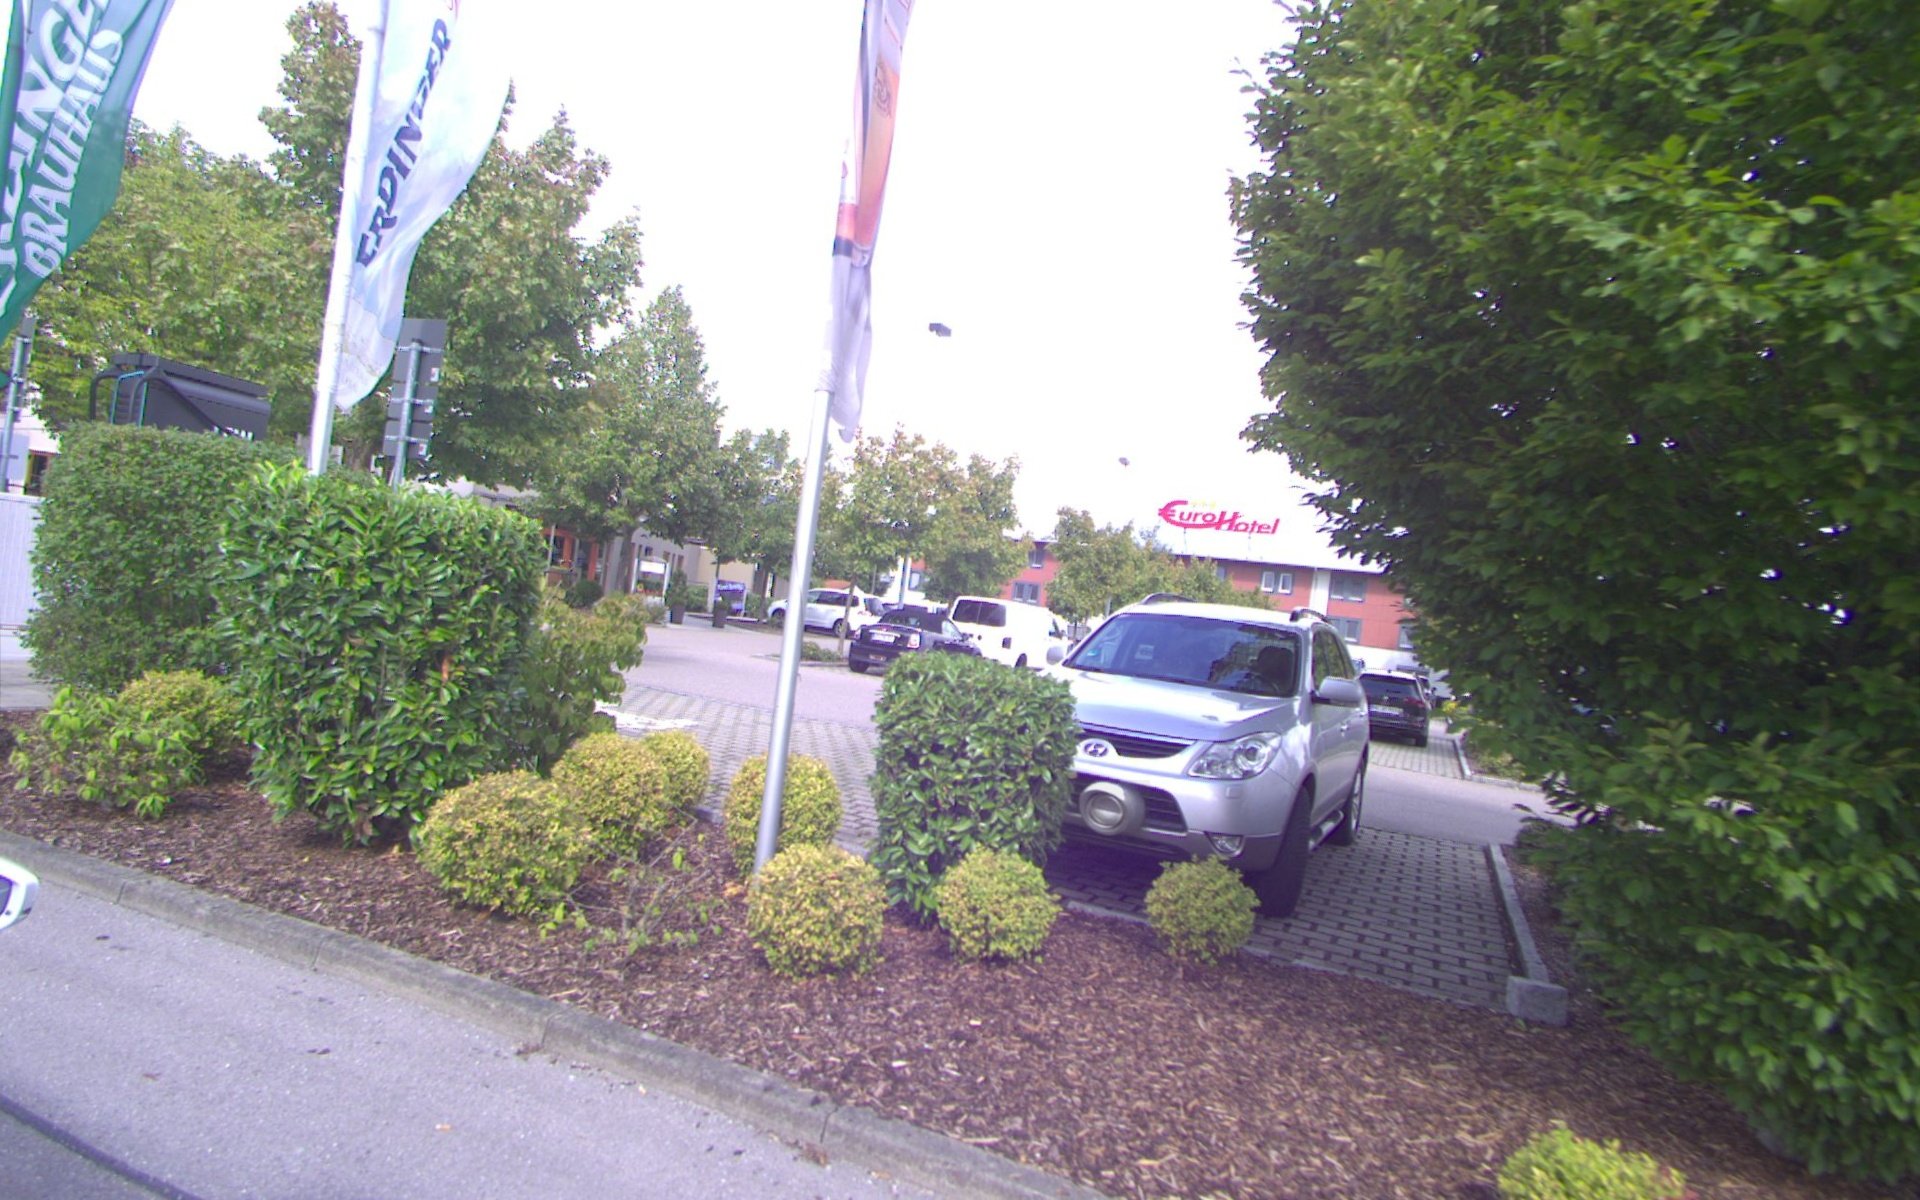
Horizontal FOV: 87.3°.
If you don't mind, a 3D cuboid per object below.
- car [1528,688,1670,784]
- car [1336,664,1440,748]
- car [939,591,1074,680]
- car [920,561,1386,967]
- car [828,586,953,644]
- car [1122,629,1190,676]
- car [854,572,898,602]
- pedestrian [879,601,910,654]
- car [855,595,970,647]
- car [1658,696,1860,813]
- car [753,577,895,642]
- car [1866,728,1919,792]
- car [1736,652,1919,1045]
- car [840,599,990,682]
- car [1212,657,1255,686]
[{"bbox_3d":[12.591,2.610,20.091,1.690,1.444,4.276,8,-1,25],"label":"car"},{"bbox_3d":[9.166,2.207,21.428,1.690,1.361,4.276,8,-1,25],"label":"car"},{"bbox_3d":[1.295,0.977,25.683,1.736,1.843,4.365,8,-1,25],"label":"car"},{"bbox_3d":[1.746,0.879,7.123,1.885,1.717,4.675,7,0,27],"label":"car"},{"bbox_3d":[-2.969,0.633,42.896,4.987,1.731,1.597,7,-1,25],"label":"car"},{"bbox_3d":[7.727,2.097,39.449,1.790,1.517,3.847,8,-1,22],"label":"car"},{"bbox_3d":[-6.666,-1.047,80.226,1.684,1.850,3.611,8,-1,26],"label":"car"},{"bbox_3d":[-2.591,1.071,39.855,0.767,1.963,0.906,8,0,-20],"label":"pedestrian"},{"bbox_3d":[-2.252,0.968,47.161,4.987,1.731,1.750,7,-1,25],"label":"car"},{"bbox_3d":[14.515,2.726,18.563,1.965,1.589,3.998,8,-1,27],"label":"car"},{"bbox_3d":[-5.163,0.339,37.971,4.987,1.731,1.750,7,-1,25],"label":"car"},{"bbox_3d":[26.019,4.363,26.440,1.964,1.548,4.000,8,-1,24],"label":"car"},{"bbox_3d":[5.301,1.223,4.641,1.627,1.736,4.363,8,-1,25],"label":"car"},{"bbox_3d":[-0.855,0.893,21.074,1.600,1.367,3.372,8,-1,25],"label":"car"},{"bbox_3d":[14.851,3.882,54.520,1.735,1.293,4.002,8,-1,22],"label":"car"}]
